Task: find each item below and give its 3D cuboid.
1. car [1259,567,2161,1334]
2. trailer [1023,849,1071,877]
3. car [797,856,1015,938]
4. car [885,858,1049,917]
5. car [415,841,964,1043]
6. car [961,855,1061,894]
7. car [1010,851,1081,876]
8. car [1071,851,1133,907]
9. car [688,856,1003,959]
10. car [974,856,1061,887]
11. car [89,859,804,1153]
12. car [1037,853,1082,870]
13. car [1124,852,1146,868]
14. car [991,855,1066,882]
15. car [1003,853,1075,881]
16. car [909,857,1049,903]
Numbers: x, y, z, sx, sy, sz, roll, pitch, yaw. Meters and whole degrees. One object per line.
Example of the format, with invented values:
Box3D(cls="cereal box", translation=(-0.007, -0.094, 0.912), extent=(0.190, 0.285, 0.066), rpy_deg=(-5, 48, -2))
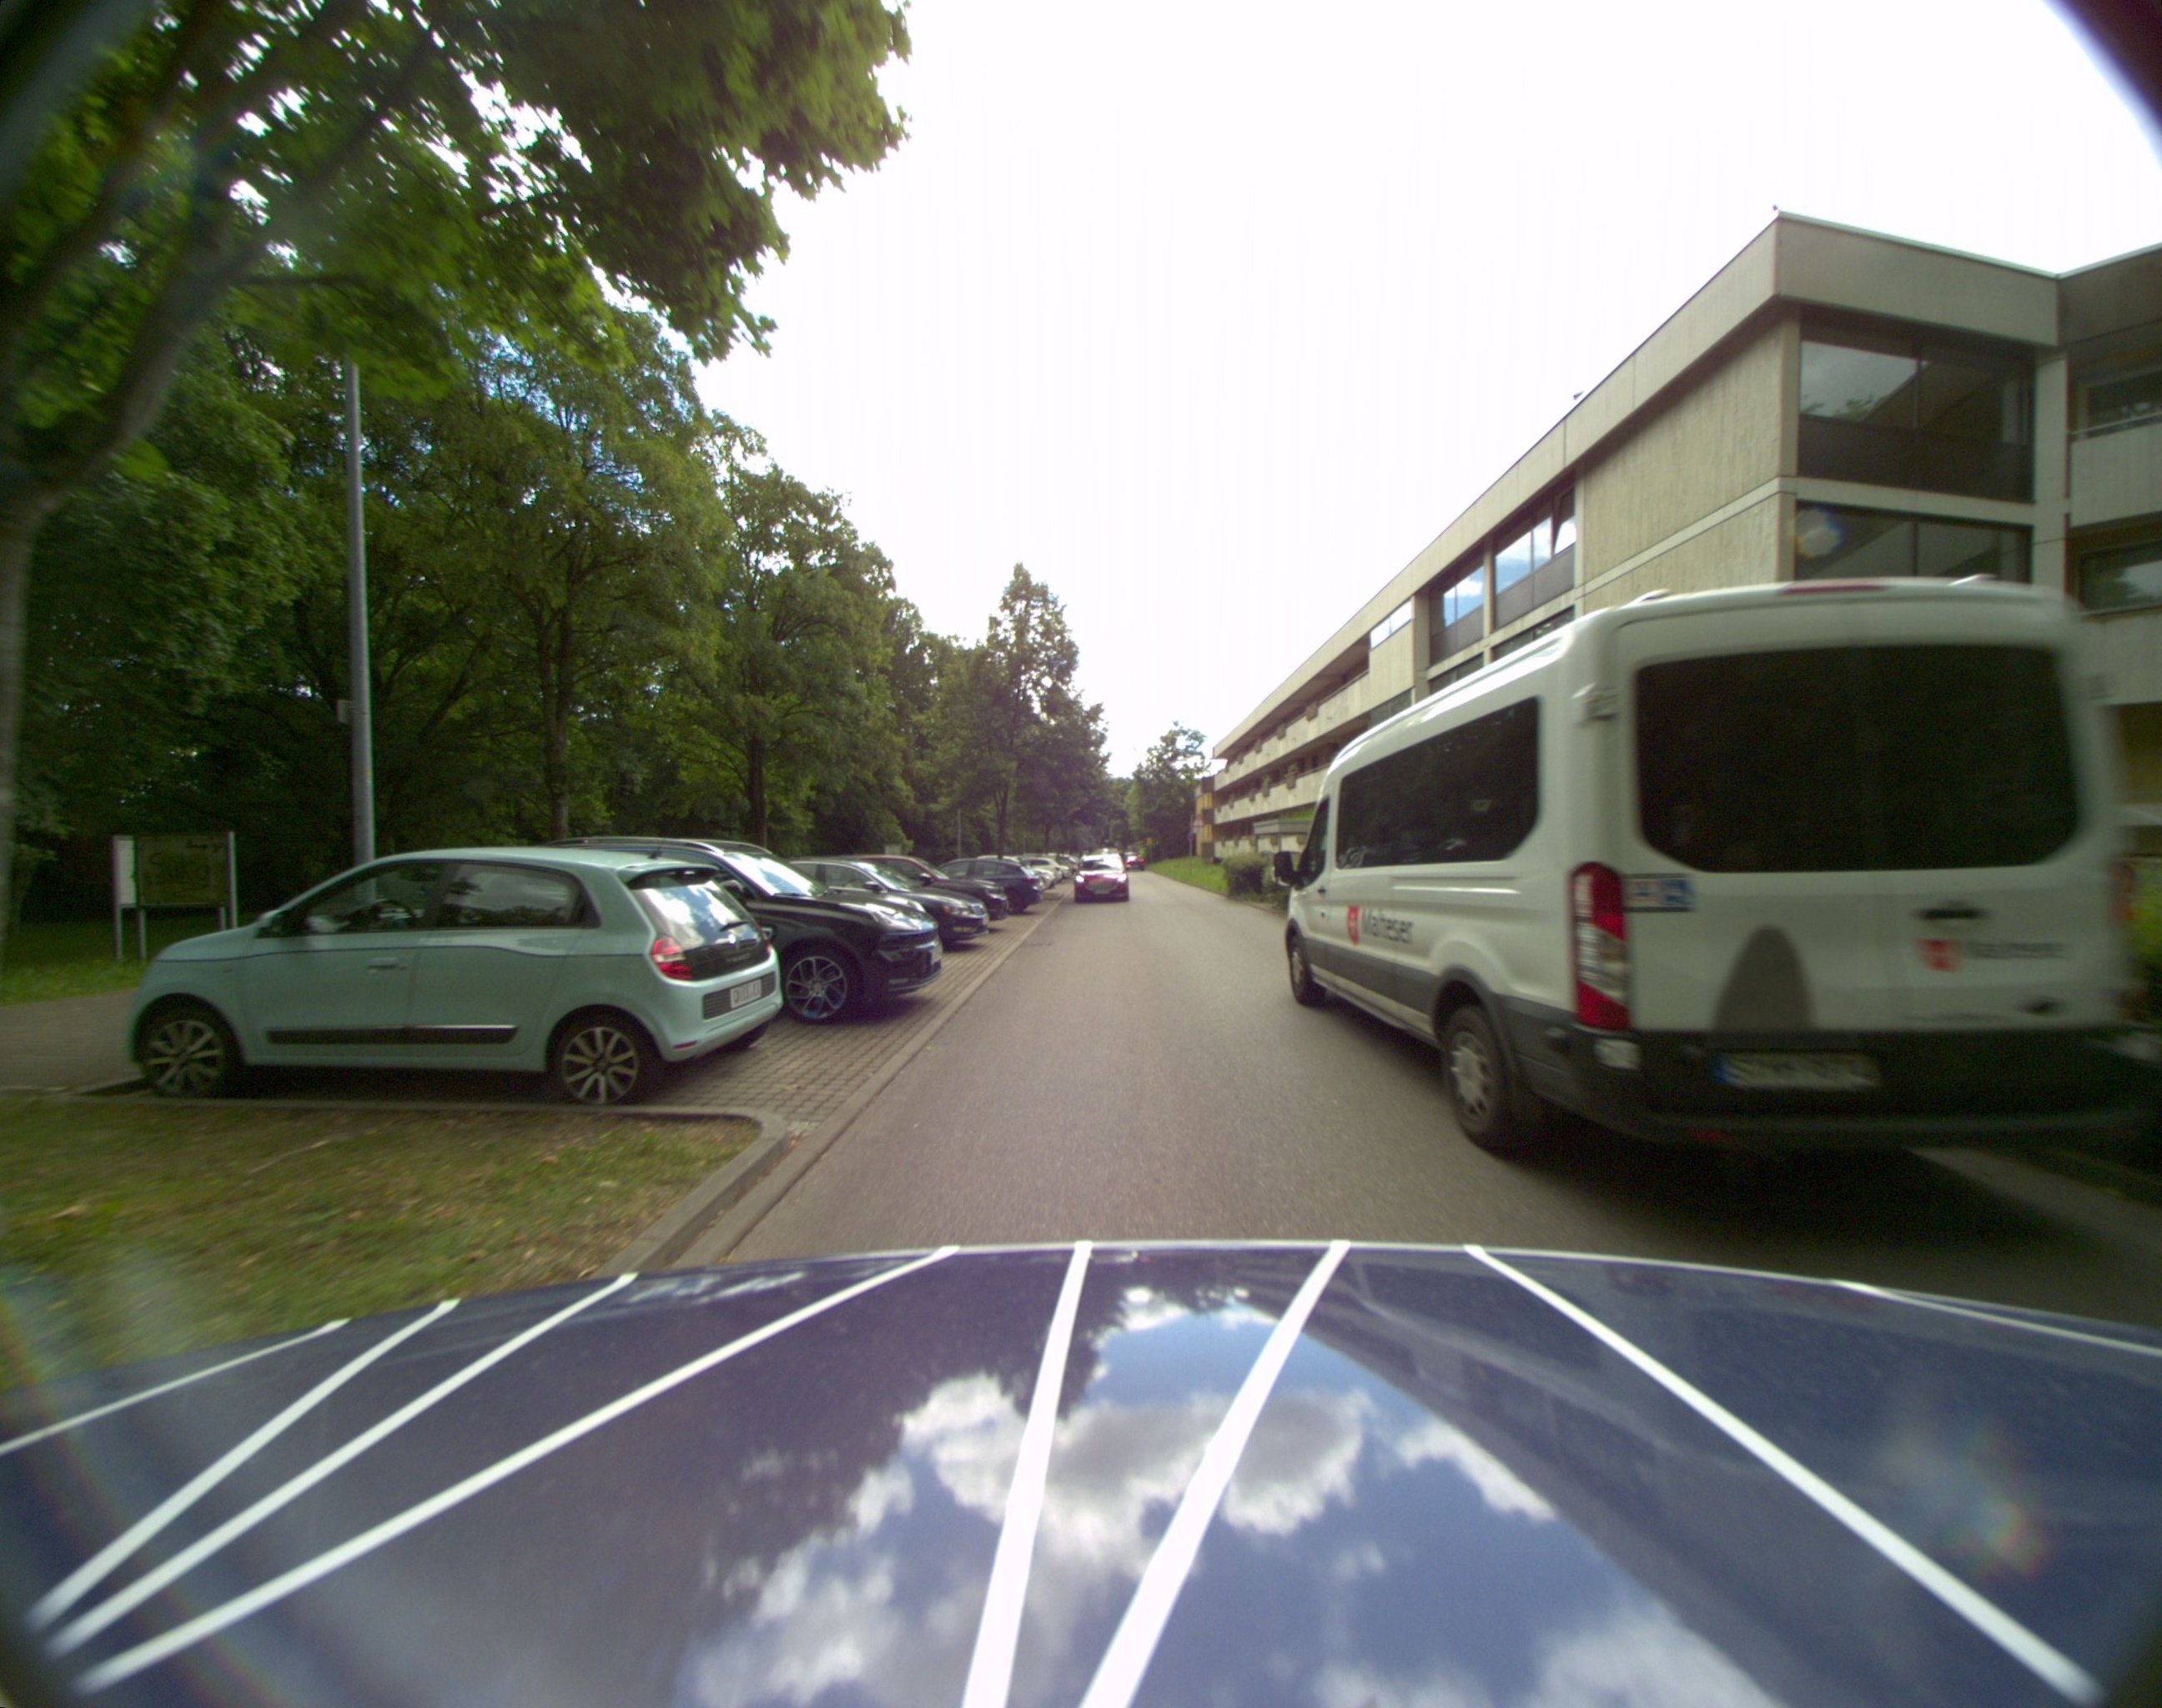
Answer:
Box3D(cls="car", translation=(2.977, 0.336, 5.604), extent=(2.137, 2.461, 6.278), rpy_deg=(-2, 0, 3))
Box3D(cls="trailer", translation=(-2.213, 0.584, 49.856), extent=(3.037, 1.780, 1.563), rpy_deg=(1, 1, -1))
Box3D(cls="car", translation=(-3.473, 0.849, 15.704), extent=(4.083, 1.508, 1.851), rpy_deg=(1, 1, -2))
Box3D(cls="car", translation=(-3.004, 0.874, 20.631), extent=(4.082, 1.448, 1.851), rpy_deg=(1, 1, 3))
Box3D(cls="car", translation=(-3.594, 0.768, 7.659), extent=(4.425, 1.666, 2.082), rpy_deg=(1, 0, 2))
Box3D(cls="car", translation=(-2.870, 0.824, 31.617), extent=(3.848, 1.507, 1.881), rpy_deg=(1, 1, 5))
Box3D(cls="car", translation=(-2.530, 0.669, 54.987), extent=(4.828, 1.683, 1.974), rpy_deg=(1, 1, 5))
Box3D(cls="car", translation=(0.744, 0.788, 26.540), extent=(1.918, 1.707, 5.039), rpy_deg=(-1, 0, 2))
Box3D(cls="car", translation=(-3.799, 0.831, 12.822), extent=(4.646, 1.508, 1.983), rpy_deg=(1, 0, 4))
Box3D(cls="car", translation=(-3.050, 0.830, 37.111), extent=(4.064, 1.414, 1.817), rpy_deg=(1, 1, 1))
Box3D(cls="car", translation=(-3.933, 0.847, 5.173), extent=(3.387, 1.565, 1.797), rpy_deg=(1, 0, 2))
Box3D(cls="car", translation=(-1.973, 0.668, 70.228), extent=(4.145, 1.561, 1.786), rpy_deg=(0, 1, 0))
Box3D(cls="car", translation=(5.163, 0.570, 73.017), extent=(1.918, 1.403, 4.424), rpy_deg=(-1, 0, 1))
Box3D(cls="car", translation=(-2.908, 0.792, 42.180), extent=(4.019, 1.414, 1.791), rpy_deg=(1, 1, -3))
Box3D(cls="car", translation=(-2.413, 0.735, 44.565), extent=(4.123, 1.539, 1.860), rpy_deg=(1, 1, -1))
Box3D(cls="car", translation=(-3.419, 0.862, 26.005), extent=(4.496, 1.446, 1.846), rpy_deg=(1, 1, 2))
